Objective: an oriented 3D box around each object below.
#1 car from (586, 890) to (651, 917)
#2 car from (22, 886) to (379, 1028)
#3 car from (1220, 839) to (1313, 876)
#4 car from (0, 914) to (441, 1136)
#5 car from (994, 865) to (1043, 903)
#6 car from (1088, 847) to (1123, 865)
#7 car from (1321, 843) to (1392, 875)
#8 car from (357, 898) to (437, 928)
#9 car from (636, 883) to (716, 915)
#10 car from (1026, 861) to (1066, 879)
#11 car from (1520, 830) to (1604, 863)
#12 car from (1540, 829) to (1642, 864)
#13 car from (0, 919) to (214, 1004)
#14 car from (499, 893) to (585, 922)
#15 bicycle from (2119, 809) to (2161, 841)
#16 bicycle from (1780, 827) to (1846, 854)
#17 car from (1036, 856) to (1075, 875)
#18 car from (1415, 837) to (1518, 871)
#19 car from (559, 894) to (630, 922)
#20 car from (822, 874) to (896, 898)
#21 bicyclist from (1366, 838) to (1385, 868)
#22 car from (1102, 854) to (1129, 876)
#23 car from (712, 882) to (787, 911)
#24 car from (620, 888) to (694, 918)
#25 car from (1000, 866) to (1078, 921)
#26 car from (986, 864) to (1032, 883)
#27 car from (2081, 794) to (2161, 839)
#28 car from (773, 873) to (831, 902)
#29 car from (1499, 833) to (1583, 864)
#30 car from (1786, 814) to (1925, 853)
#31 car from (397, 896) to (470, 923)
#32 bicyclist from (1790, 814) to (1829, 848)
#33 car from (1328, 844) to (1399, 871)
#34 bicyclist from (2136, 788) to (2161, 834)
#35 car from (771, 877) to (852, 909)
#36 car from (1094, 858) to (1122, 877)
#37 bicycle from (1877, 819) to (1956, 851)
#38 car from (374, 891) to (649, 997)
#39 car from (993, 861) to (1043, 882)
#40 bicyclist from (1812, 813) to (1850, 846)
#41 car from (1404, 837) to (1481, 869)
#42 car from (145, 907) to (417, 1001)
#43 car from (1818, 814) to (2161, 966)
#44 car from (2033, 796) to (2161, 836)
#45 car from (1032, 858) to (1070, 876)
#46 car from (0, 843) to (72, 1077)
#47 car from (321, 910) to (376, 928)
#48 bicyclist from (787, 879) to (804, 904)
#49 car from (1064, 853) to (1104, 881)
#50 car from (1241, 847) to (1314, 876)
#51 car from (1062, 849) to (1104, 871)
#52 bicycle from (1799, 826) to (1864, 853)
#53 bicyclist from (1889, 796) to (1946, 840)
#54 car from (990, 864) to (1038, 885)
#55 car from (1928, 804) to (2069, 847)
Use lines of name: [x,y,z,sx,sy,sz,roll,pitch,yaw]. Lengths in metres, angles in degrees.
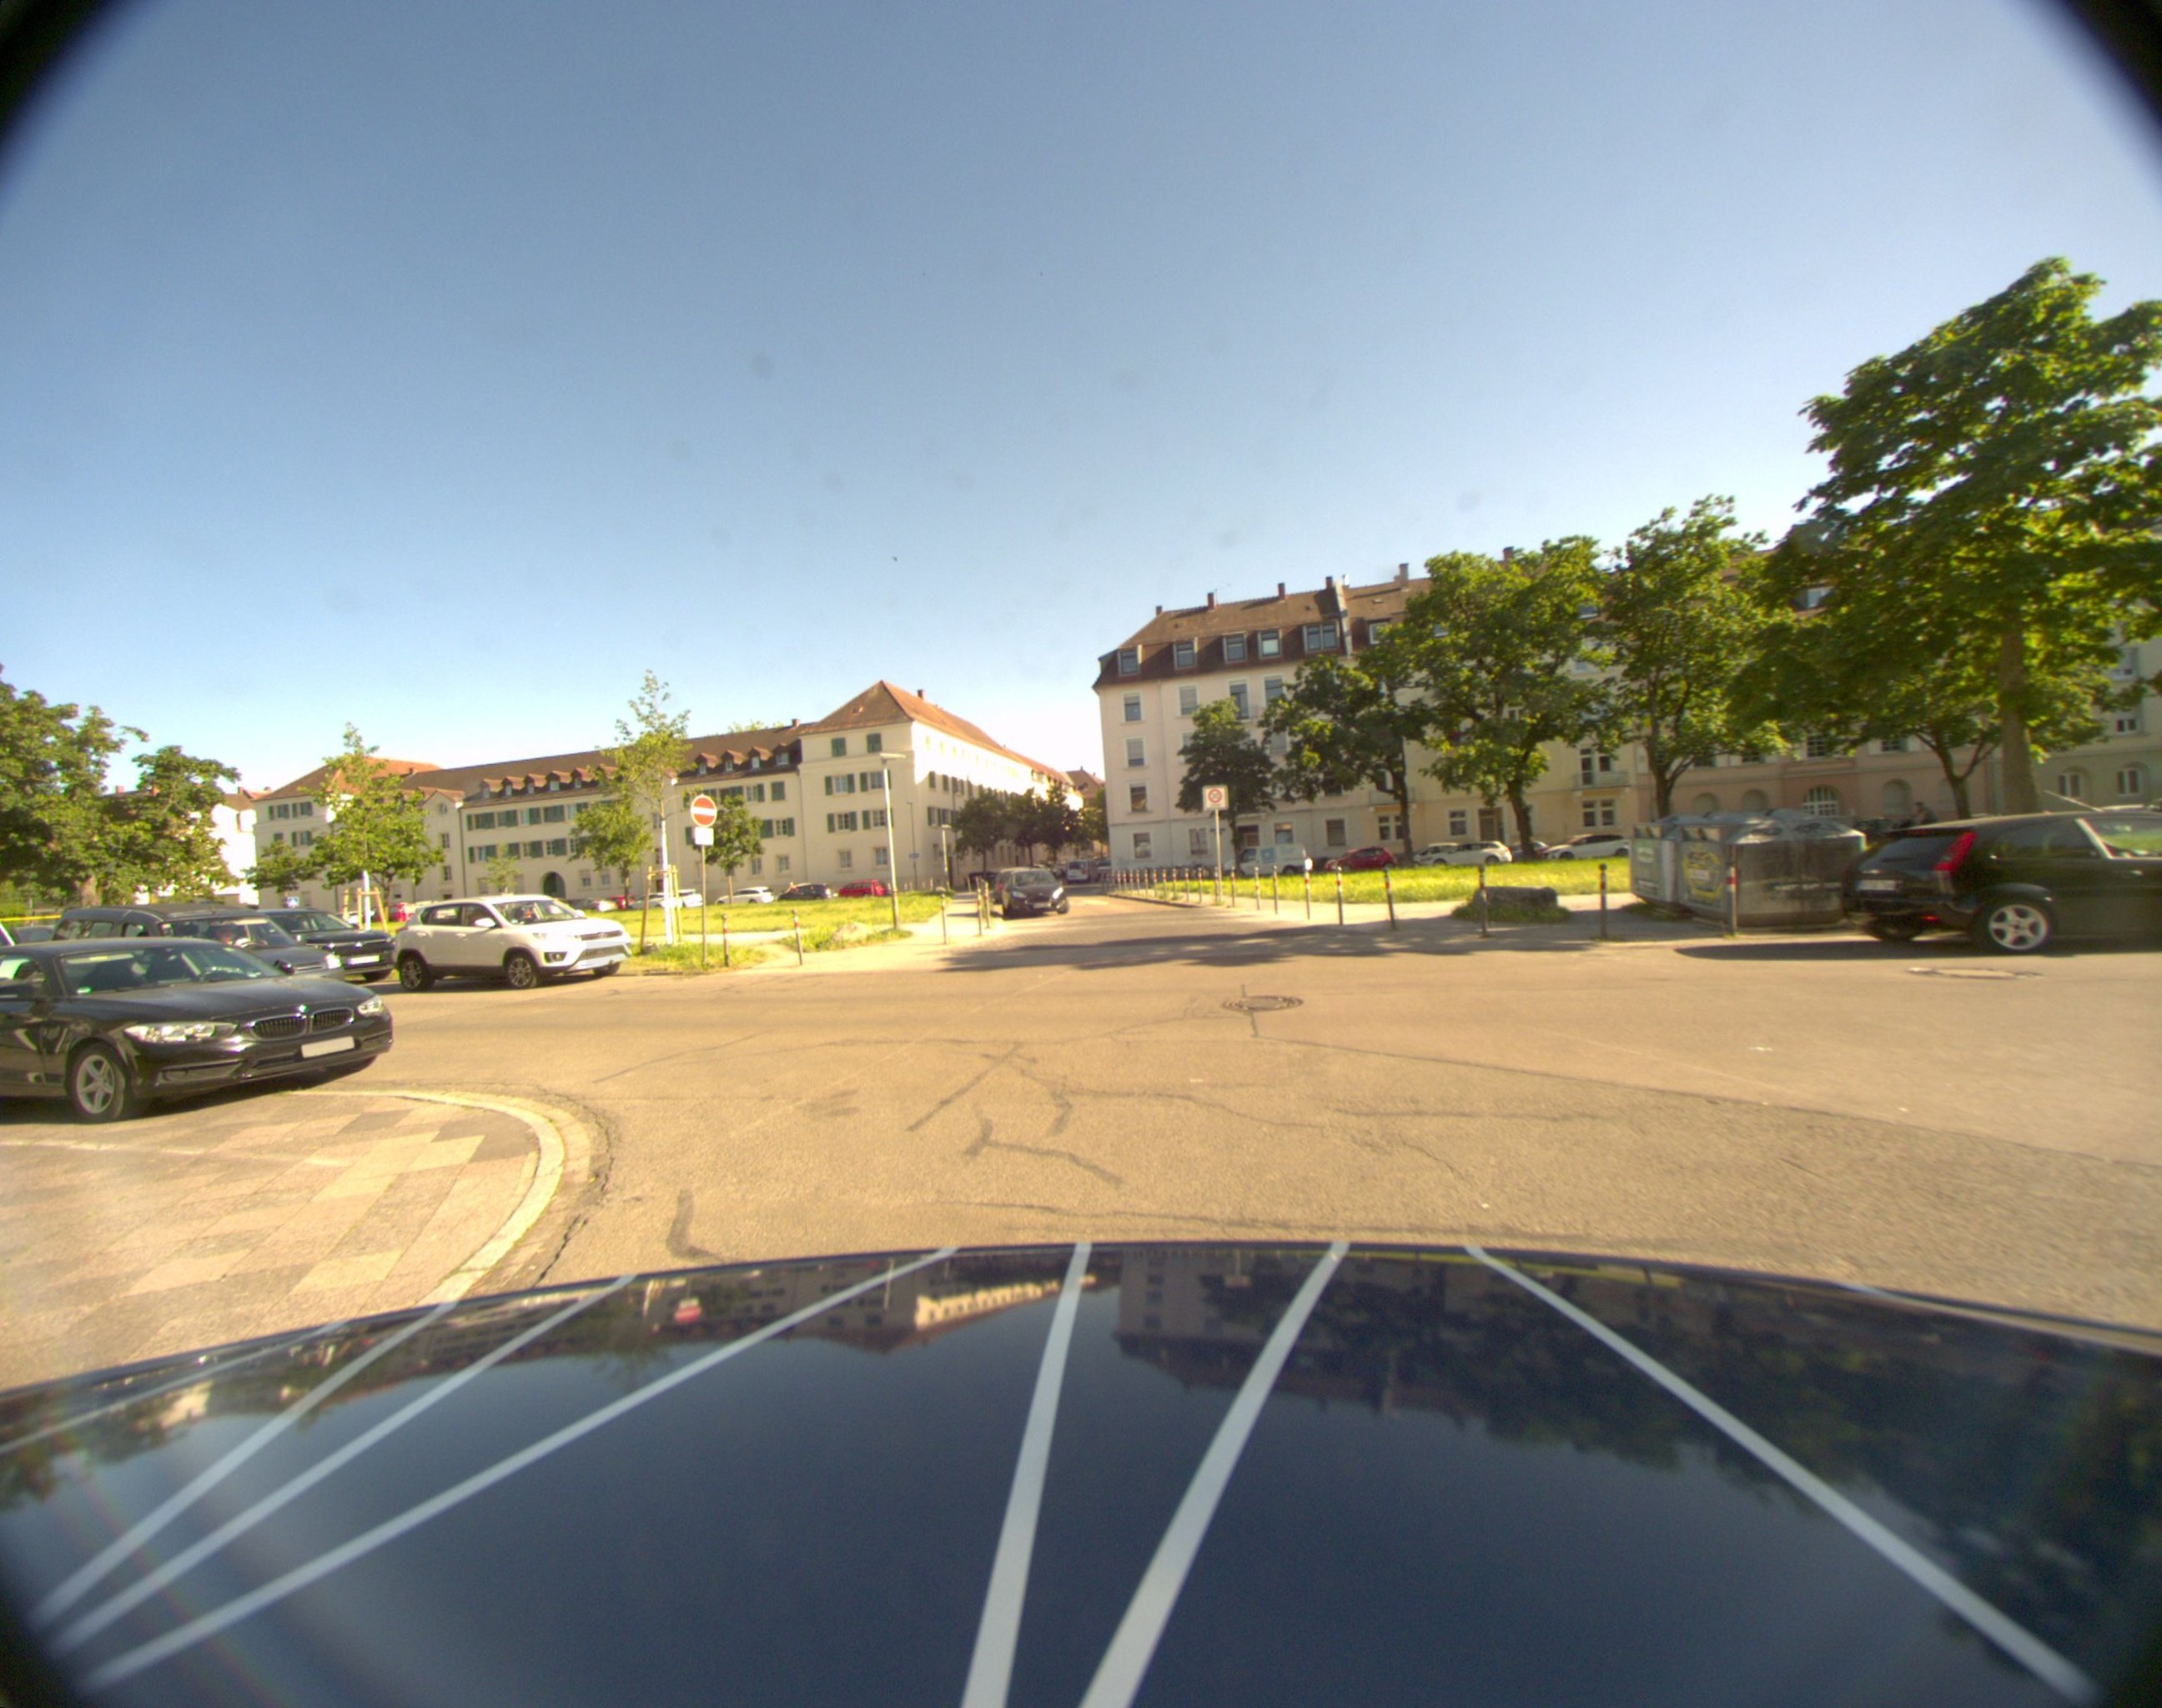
car: [-38.575,4.134,63.459,4.160,1.894,2.273,-4,0,14]
car: [-13.642,1.574,11.858,4.150,1.779,1.906,-4,0,14]
car: [10.886,0.207,44.841,5.090,1.861,2.090,-4,0,12]
car: [-8.629,1.439,6.935,4.491,1.472,1.967,-4,-2,14]
car: [-3.076,1.409,36.535,1.929,1.567,4.345,-4,-1,-9]
car: [3.779,0.345,116.861,4.948,2.381,1.958,-4,0,11]
car: [17.651,0.308,48.812,4.047,1.741,2.002,-4,0,16]
car: [-56.071,4.838,62.296,5.248,1.973,2.230,-4,0,15]
car: [-33.094,3.681,62.188,5.249,2.203,2.541,-4,0,13]
car: [-3.535,1.628,76.598,3.610,1.512,1.862,-4,0,11]
car: [27.462,-0.436,43.482,3.586,1.592,1.783,-4,0,14]
car: [26.987,-0.387,40.349,4.074,1.518,1.701,-4,0,12]
car: [-22.541,2.442,17.254,4.730,1.600,1.828,-4,-2,15]
car: [-41.455,4.128,58.449,5.443,1.809,2.461,-4,0,16]
bicycle: [44.882,-1.252,31.249,2.630,1.245,0.813,-4,0,13]
bicycle: [32.518,-0.599,33.770,1.952,1.072,0.735,-4,0,13]
car: [-2.747,1.227,81.657,3.707,1.823,1.958,-4,0,11]
car: [21.127,0.003,41.830,4.690,1.552,1.701,-4,0,12]
car: [-36.563,4.067,57.167,4.001,1.740,2.327,-4,0,16]
car: [-16.825,2.427,57.656,4.950,1.476,2.002,-4,-1,14]
bicyclist: [17.339,-0.038,44.688,0.877,1.680,0.632,-4,0,14]
car: [3.482,1.041,75.582,1.997,1.962,5.057,-4,0,10]
car: [-26.228,3.342,60.165,5.149,1.874,2.163,-4,0,15]
car: [-31.091,3.590,55.741,4.250,1.809,2.245,-4,0,13]
car: [-1.433,1.176,24.161,1.920,1.401,4.345,-6,0,-9]
car: [-6.457,1.743,68.214,3.610,1.512,1.710,-4,0,11]
car: [49.296,-1.778,34.582,4.454,1.896,1.743,-4,0,12]
car: [-21.617,2.610,58.957,3.890,2.002,1.672,-3,0,14]
car: [27.798,-0.316,46.043,3.854,1.605,1.892,-4,0,14]
car: [38.119,-0.977,37.504,4.521,1.540,1.763,-4,0,12]
car: [-58.254,4.975,68.411,5.249,1.973,2.230,-4,0,13]
bicyclist: [32.368,-1.024,33.775,0.941,1.429,0.741,-3,0,15]
car: [15.995,0.185,43.139,3.520,1.272,1.701,-4,0,12]
bicyclist: [44.885,-1.805,31.251,1.447,1.826,0.945,-3,0,14]
car: [-18.549,2.703,52.412,4.697,1.809,2.167,-4,0,13]
car: [2.556,1.230,70.677,1.935,1.559,3.886,-4,0,11]
bicycle: [37.474,-0.832,34.079,2.633,1.245,0.813,-4,0,-2]
car: [-10.421,1.638,13.963,4.279,1.637,1.764,-4,-2,16]
car: [-5.829,1.602,70.367,4.235,1.691,1.708,-4,0,12]
bicyclist: [33.906,-1.089,34.367,0.941,1.429,0.741,-3,0,15]
car: [22.527,-0.064,47.486,3.993,1.747,1.871,-4,0,14]
car: [-16.639,2.070,15.839,4.706,1.628,1.851,-4,-2,15]
car: [10.712,0.333,7.938,3.909,1.416,1.756,-3,-2,16]
car: [53.127,-1.946,39.561,4.019,1.741,1.950,-4,0,14]
car: [-3.126,1.353,79.287,3.610,1.631,1.833,-4,0,11]
car: [-15.945,1.434,9.204,6.828,2.696,2.153,-4,-2,16]
car: [-68.410,6.025,70.977,3.993,1.348,1.776,-4,0,14]
bicyclist: [-21.401,2.786,56.942,0.800,1.792,0.676,-4,0,14]
car: [0.302,0.980,60.206,2.137,2.002,4.580,-4,0,12]
car: [12.802,0.460,49.844,4.445,1.577,2.002,-4,0,11]
car: [0.277,0.735,97.105,4.948,2.504,1.958,-4,0,11]
bicycle: [33.915,-0.647,34.361,1.952,1.072,0.735,-4,0,13]
bicyclist: [37.515,-1.595,34.101,1.448,1.826,0.944,-3,0,-1]
car: [-5.723,1.755,65.075,3.661,1.512,1.715,-4,0,14]
car: [43.463,-1.326,36.070,4.074,1.677,1.638,-4,0,12]
